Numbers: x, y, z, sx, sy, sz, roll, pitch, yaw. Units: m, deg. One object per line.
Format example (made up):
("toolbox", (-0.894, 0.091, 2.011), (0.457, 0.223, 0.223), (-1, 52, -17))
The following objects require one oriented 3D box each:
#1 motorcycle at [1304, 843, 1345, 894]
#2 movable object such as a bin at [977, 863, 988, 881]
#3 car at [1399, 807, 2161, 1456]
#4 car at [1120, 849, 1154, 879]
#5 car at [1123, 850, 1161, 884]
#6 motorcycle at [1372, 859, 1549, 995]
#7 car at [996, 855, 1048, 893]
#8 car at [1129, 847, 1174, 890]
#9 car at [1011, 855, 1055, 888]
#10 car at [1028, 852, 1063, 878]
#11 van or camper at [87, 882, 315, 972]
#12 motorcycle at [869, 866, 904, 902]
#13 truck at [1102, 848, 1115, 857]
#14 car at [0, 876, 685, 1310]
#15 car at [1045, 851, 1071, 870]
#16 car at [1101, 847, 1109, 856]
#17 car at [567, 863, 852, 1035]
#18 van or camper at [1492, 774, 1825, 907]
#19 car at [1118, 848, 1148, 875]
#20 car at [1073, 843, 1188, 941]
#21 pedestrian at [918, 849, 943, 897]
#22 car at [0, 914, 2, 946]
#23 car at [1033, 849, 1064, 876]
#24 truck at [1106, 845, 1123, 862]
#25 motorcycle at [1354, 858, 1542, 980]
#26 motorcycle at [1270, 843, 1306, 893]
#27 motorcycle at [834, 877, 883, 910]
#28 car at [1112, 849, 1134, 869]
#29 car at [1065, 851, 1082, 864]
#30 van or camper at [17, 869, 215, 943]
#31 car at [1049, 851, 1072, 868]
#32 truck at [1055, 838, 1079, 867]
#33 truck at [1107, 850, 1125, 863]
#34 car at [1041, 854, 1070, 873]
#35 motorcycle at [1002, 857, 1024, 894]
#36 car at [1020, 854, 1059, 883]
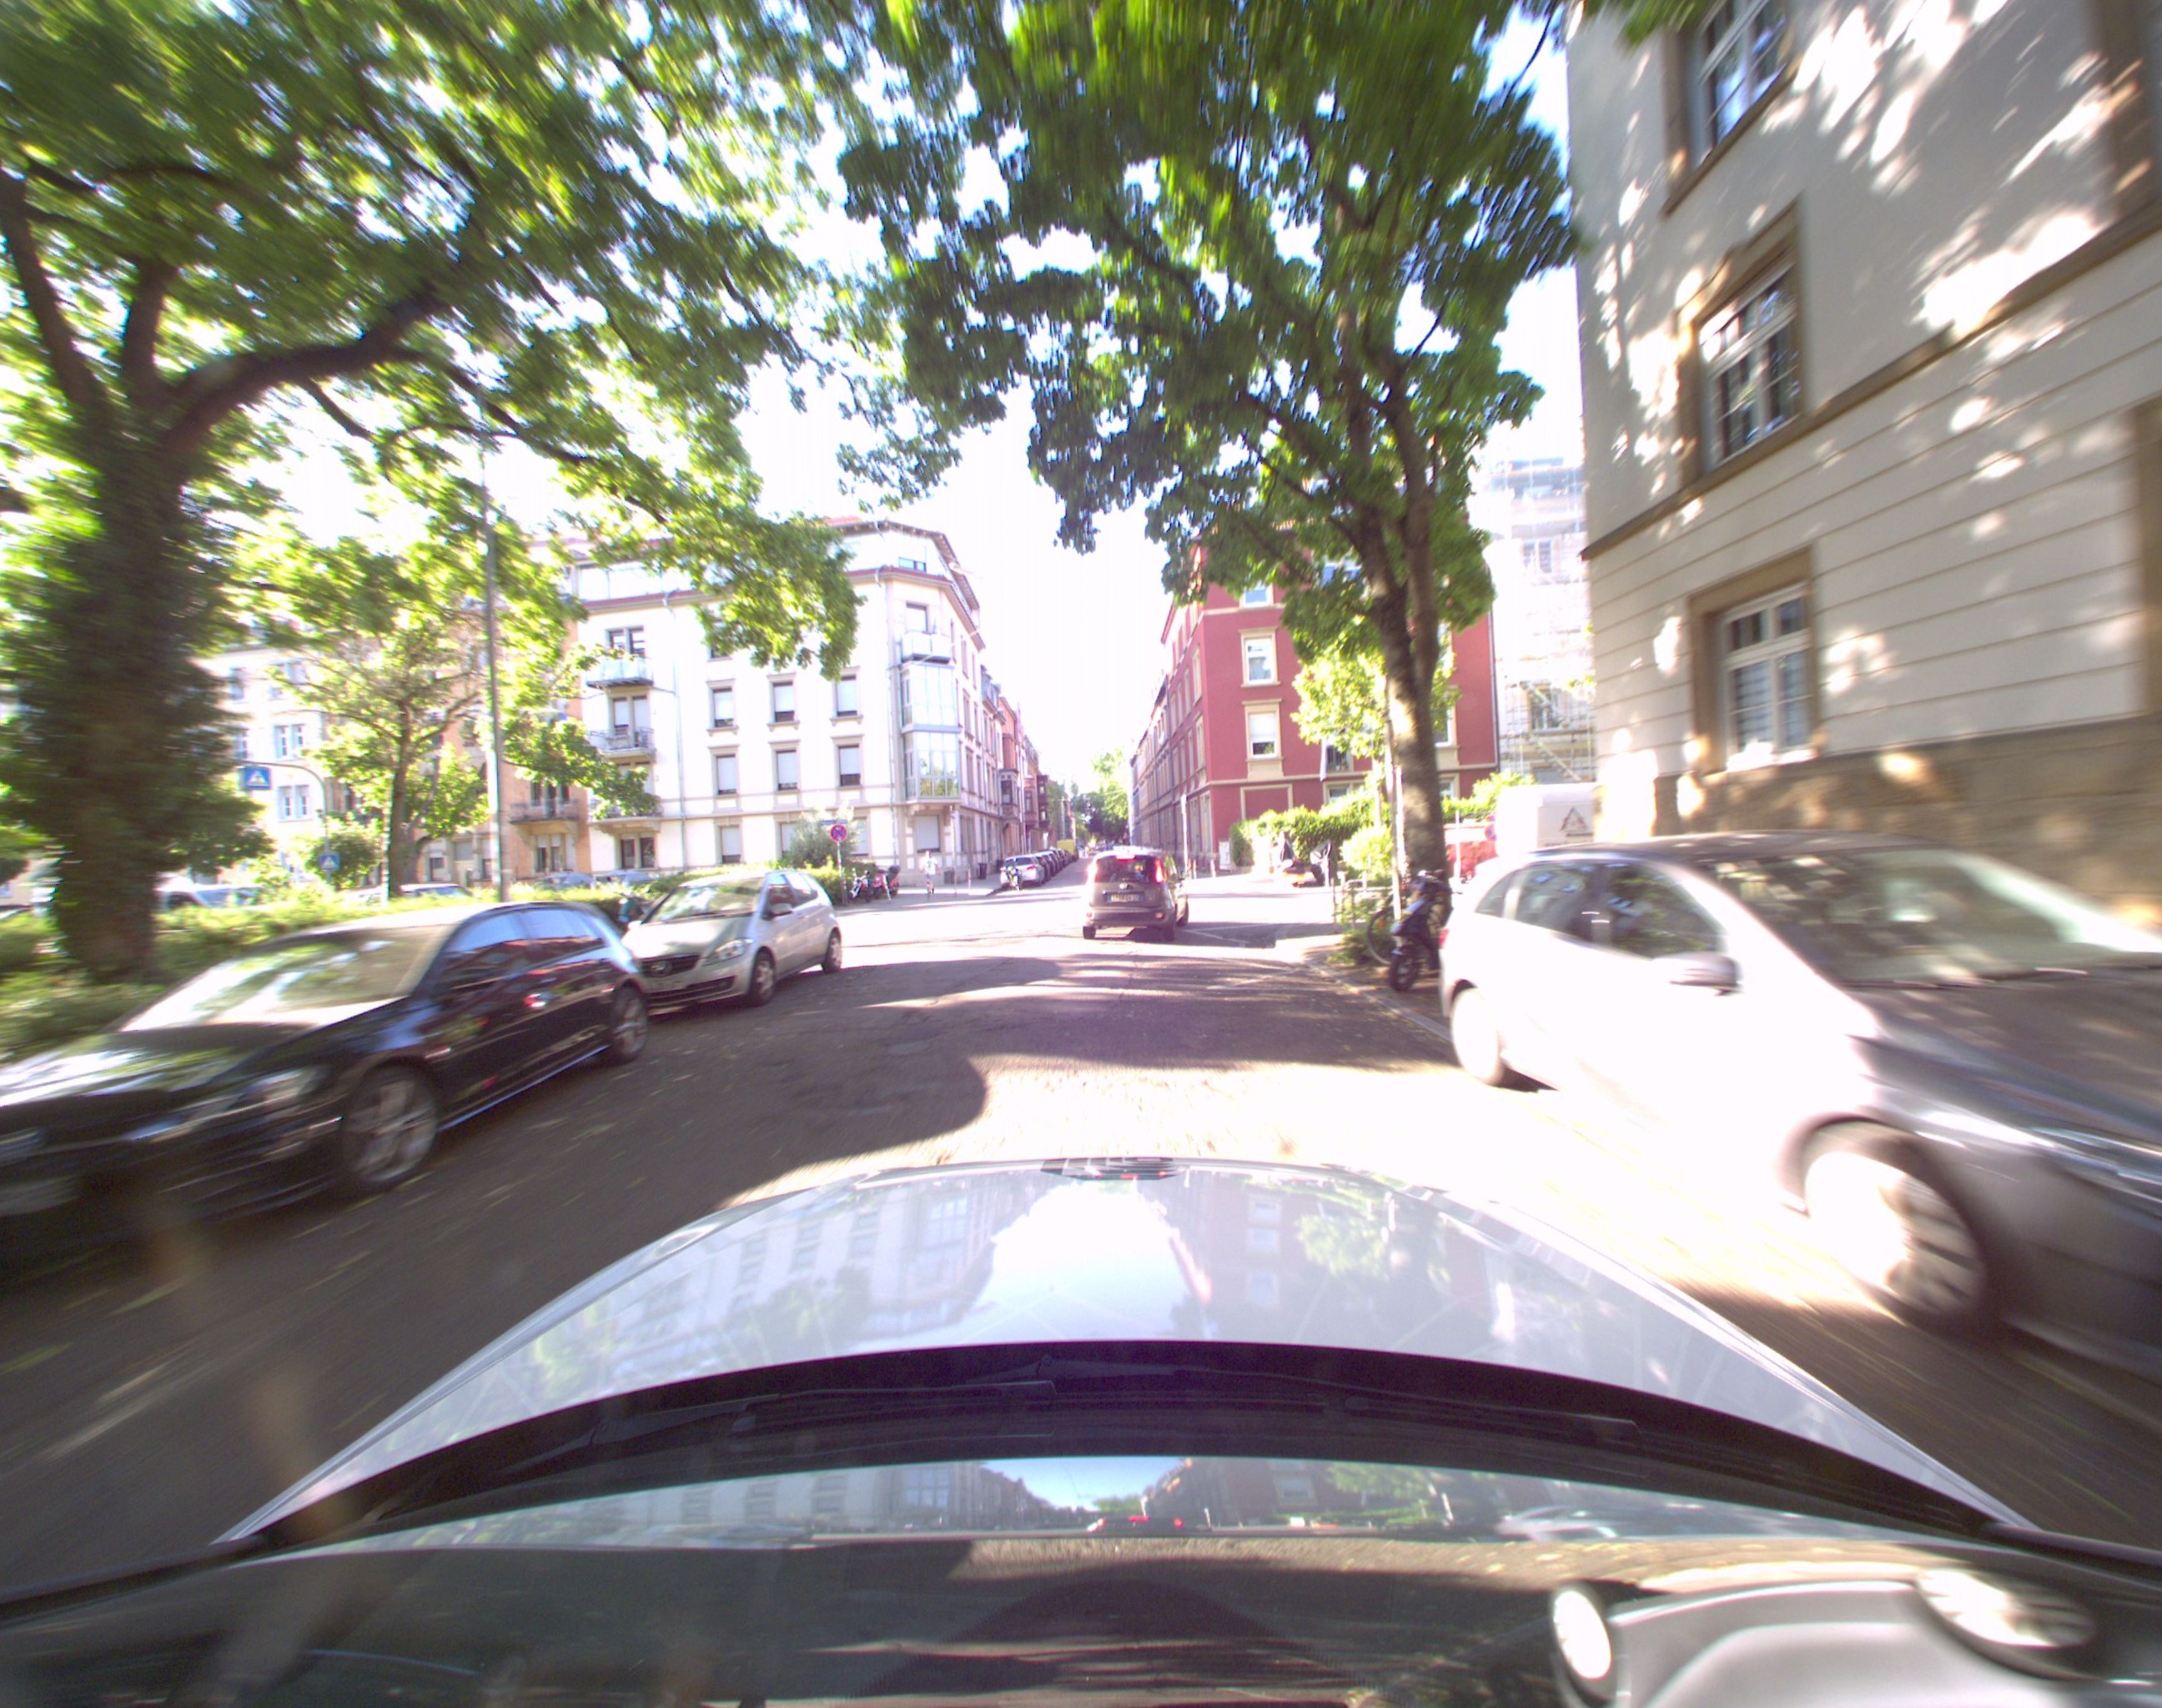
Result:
("motorcycle", (7.578, 0.426, 25.447), (0.821, 1.404, 2.563), (-3, 2, 9))
("movable object such as a bin", (-5.468, 1.009, 45.103), (0.510, 0.952, 0.501), (-3, 0, -2))
("car", (3.403, 0.633, 4.033), (1.784, 1.551, 4.407), (-3, 0, -2))
("car", (2.960, 0.508, 43.766), (1.656, 1.505, 3.759), (-2, 0, 2))
("car", (2.876, 0.580, 39.166), (1.656, 1.505, 3.759), (-2, 0, 2))
("motorcycle", (3.946, 0.742, 8.541), (1.498, 1.266, 0.619), (-4, 0, 0))
("car", (-2.621, 0.873, 37.184), (1.790, 1.431, 3.927), (-6, 0, 2))
("car", (2.944, 0.582, 34.671), (1.656, 1.669, 3.759), (-2, 0, 2))
("car", (-2.456, 0.849, 42.270), (1.770, 1.412, 3.927), (-6, 0, 2))
("car", (-2.296, 0.699, 53.591), (1.822, 1.479, 3.927), (-6, 0, 2))
("van or camper", (-23.150, 1.891, 21.506), (4.353, 2.013, 1.775), (-3, 0, 7))
("motorcycle", (-7.341, 1.115, 30.771), (0.514, 1.294, 1.618), (-2, 1, 15))
("truck", (4.632, -0.241, 137.651), (1.986, 1.456, 4.001), (-3, 0, 1))
("car", (-4.527, 1.052, 5.390), (1.743, 1.474, 4.457), (-7, 1, -4))
("car", (-2.120, 0.602, 75.696), (1.954, 1.479, 3.927), (-6, 0, 2))
("car", (4.695, -0.561, 158.697), (1.362, 1.618, 3.415), (-3, 0, 2))
("car", (-4.441, 1.019, 10.492), (1.691, 1.550, 3.919), (-6, 0, 0))
("van or camper", (12.407, -0.291, 17.920), (5.553, 2.445, 2.152), (-3, 2, 10))
("car", (3.169, 0.441, 50.168), (1.656, 1.505, 3.759), (-2, 0, 2))
("car", (0.999, 0.595, 14.845), (1.622, 1.550, 3.275), (0, 1, 12))
("pedestrian", (-5.913, 0.731, 31.992), (0.718, 1.839, 0.628), (-2, 0, 12))
("car", (-43.758, 2.785, 30.844), (3.965, 1.739, 1.654), (-3, 0, 7))
("car", (-2.331, 0.589, 58.750), (1.768, 1.698, 3.927), (-6, 0, 2))
("truck", (4.210, -0.072, 103.454), (1.986, 1.992, 4.001), (-3, 0, 1))
("motorcycle", (4.158, 0.742, 9.350), (1.837, 1.266, 0.507), (-4, 0, 15))
("motorcycle", (6.610, 0.418, 26.105), (1.013, 1.404, 2.200), (-3, 2, 13))
("motorcycle", (-7.740, 1.359, 28.421), (0.683, 0.985, 1.831), (1, 2, 21))
("car", (3.253, 0.364, 63.847), (1.656, 1.505, 3.759), (-2, 0, 2))
("car", (-0.952, 0.418, 105.066), (1.954, 1.479, 3.927), (-6, 0, 2))
("van or camper", (-40.165, 2.087, 34.135), (1.982, 2.636, 4.934), (-3, 0, 8))
("car", (-2.034, 0.541, 82.706), (1.954, 1.479, 3.927), (-6, 0, 2))
("truck", (-1.509, -0.150, 89.802), (2.063, 2.925, 5.070), (-7, 0, 2))
("truck", (4.157, 0.279, 98.072), (1.986, 1.456, 4.001), (-3, 0, 1))
("car", (-2.095, 0.771, 68.040), (1.954, 1.224, 3.927), (-6, 0, 2))
("motorcycle", (-2.831, 0.876, 33.888), (0.696, 1.460, 1.746), (-4, 0, -8))
("car", (-2.437, 0.834, 48.489), (1.818, 1.467, 3.927), (-6, 0, 2))
